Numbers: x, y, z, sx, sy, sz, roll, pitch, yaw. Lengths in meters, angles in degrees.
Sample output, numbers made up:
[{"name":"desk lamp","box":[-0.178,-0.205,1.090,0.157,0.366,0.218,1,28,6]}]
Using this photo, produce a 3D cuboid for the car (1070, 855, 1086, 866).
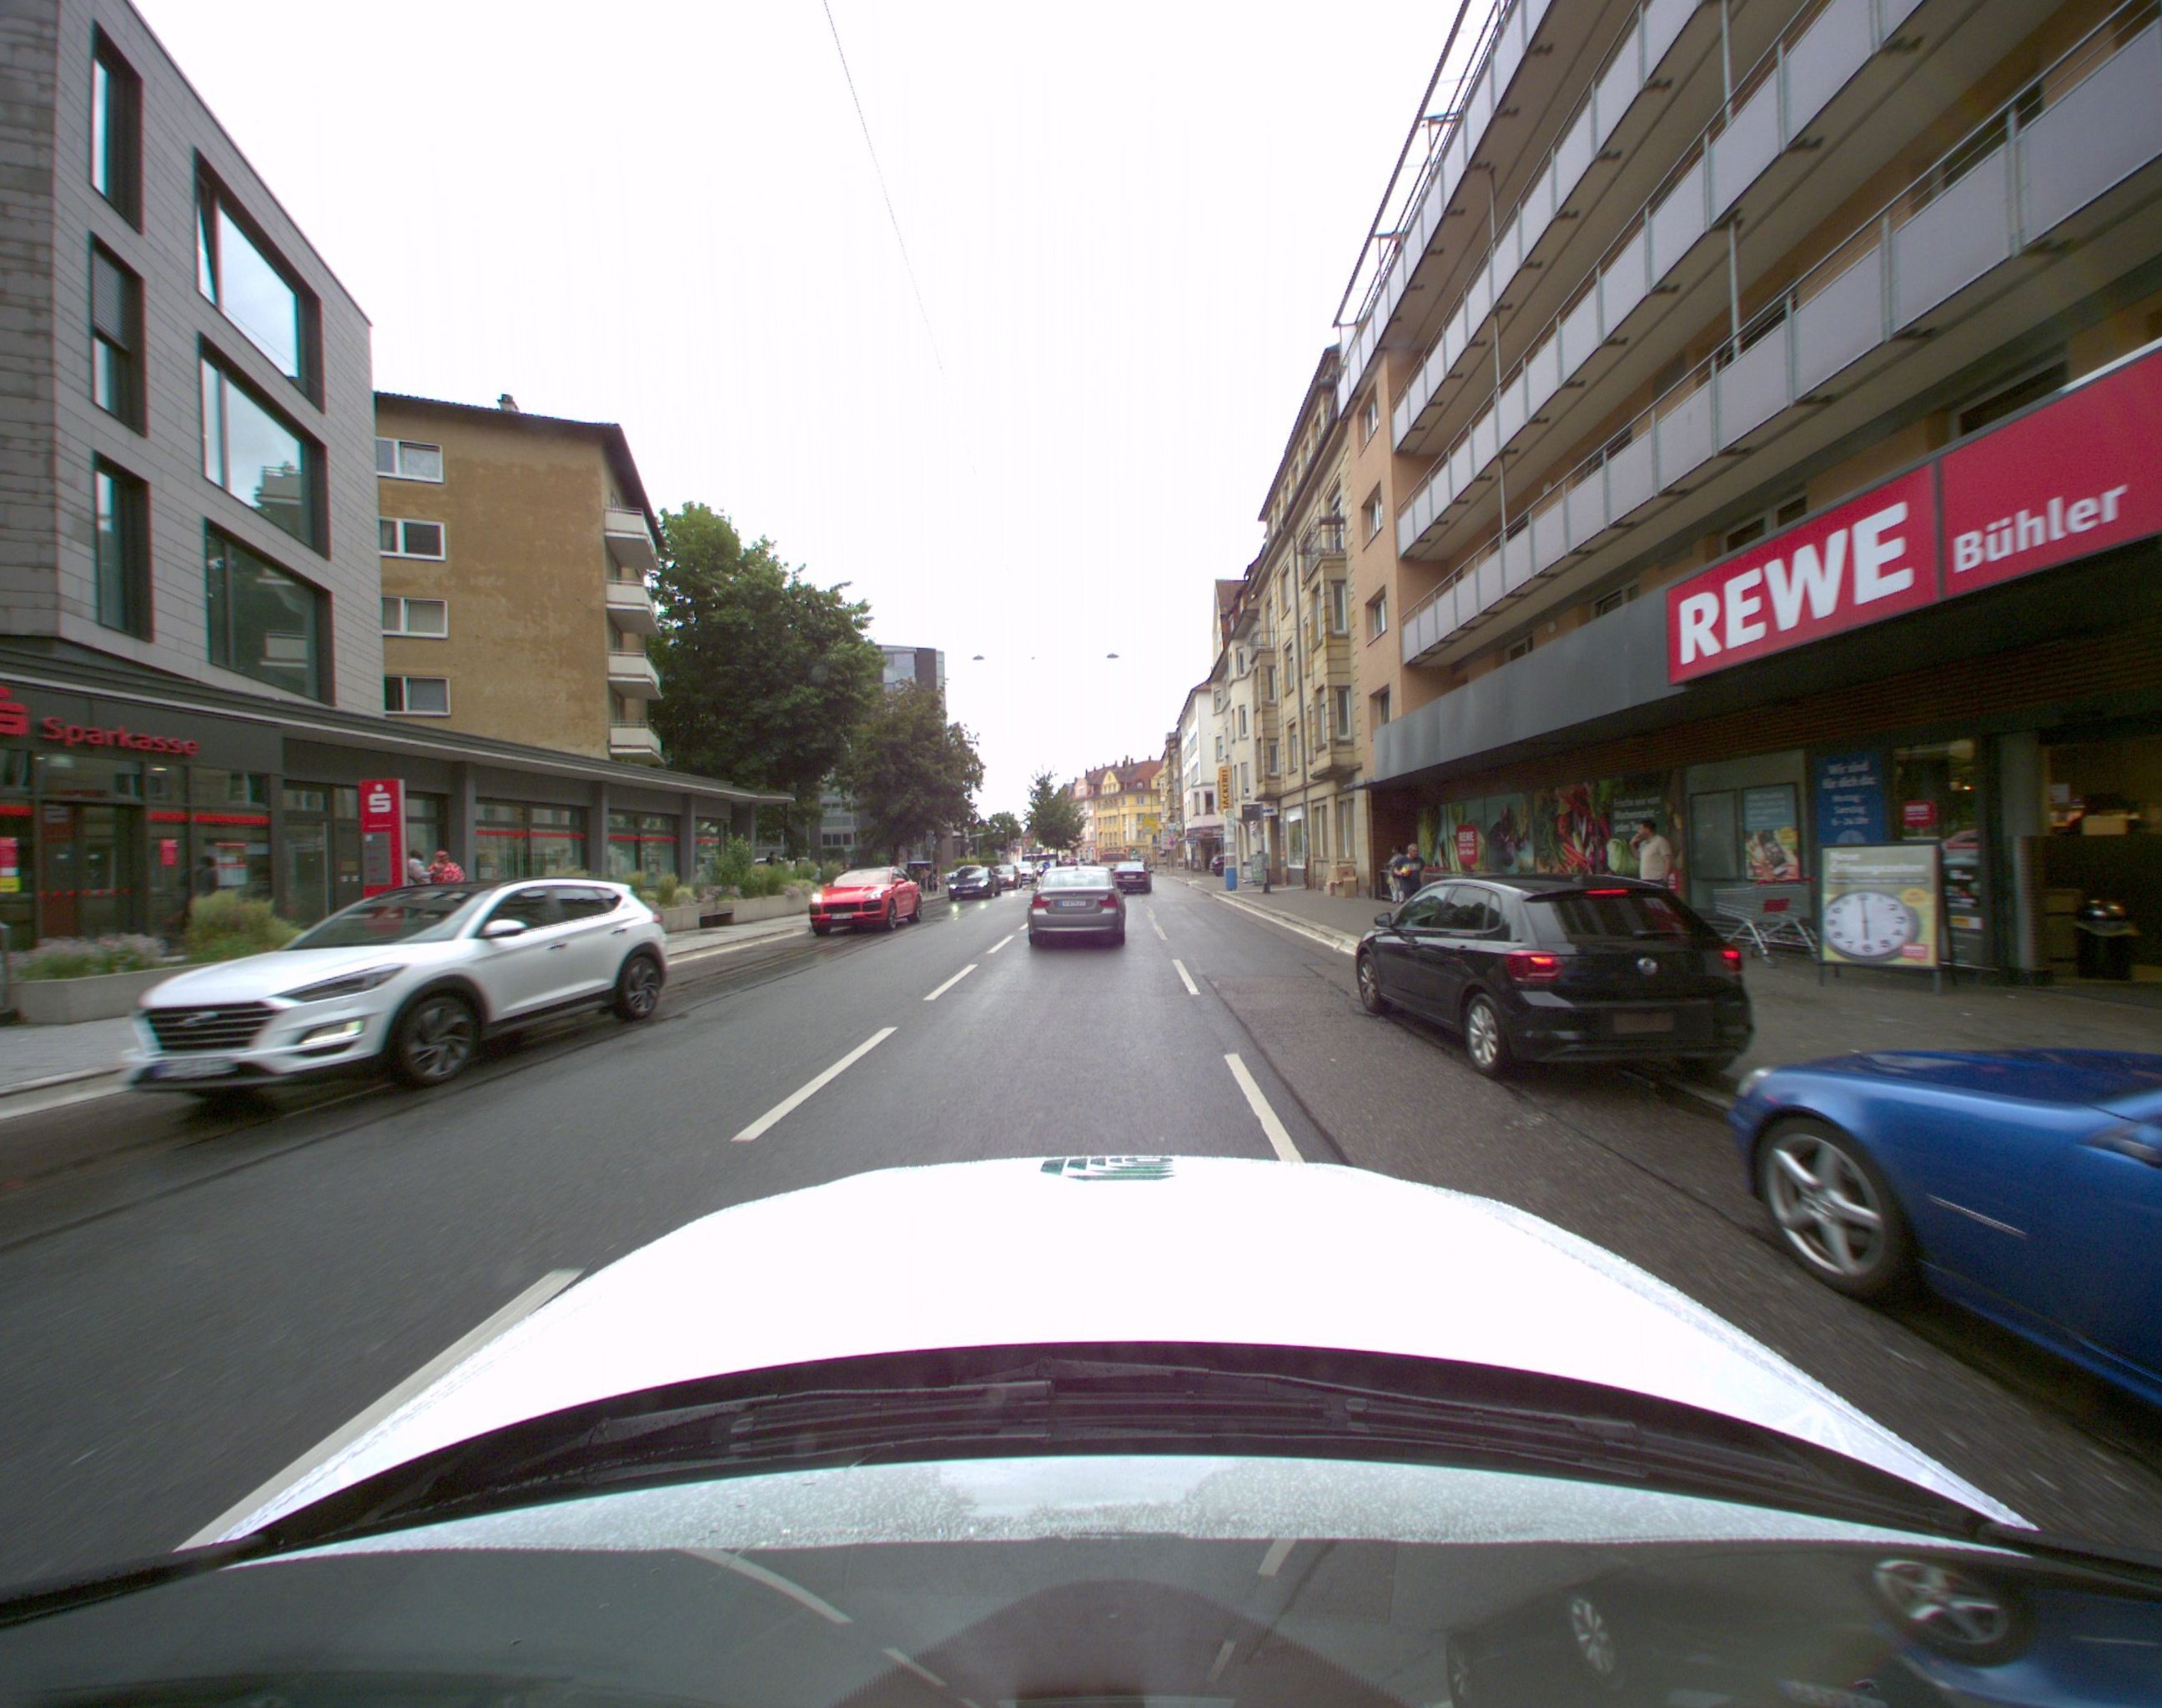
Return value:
[{"name":"car","box":[-0.604,1.283,167.696,1.769,2.180,3.969,1,-1,-23]}]

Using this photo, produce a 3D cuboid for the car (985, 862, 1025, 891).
[{"name":"car","box":[-4.543,1.341,49.188,1.948,1.557,4.243,-3,0,0]}]

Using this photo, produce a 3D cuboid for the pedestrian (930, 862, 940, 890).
[{"name":"pedestrian","box":[-8.881,1.349,49.481,0.496,1.673,0.552,-1,-1,-1]}]

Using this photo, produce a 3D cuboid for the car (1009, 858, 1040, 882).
[{"name":"car","box":[-4.055,1.134,58.880,1.813,1.569,4.090,-3,0,1]}]

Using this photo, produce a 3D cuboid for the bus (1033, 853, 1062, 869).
[{"name":"bus","box":[-6.998,1.448,167.346,2.920,3.105,9.075,-2,0,-22]}]

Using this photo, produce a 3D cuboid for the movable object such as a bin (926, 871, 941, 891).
[{"name":"movable object such as a bin","box":[-8.819,1.606,48.785,0.701,1.134,0.965,-1,-1,-1]}]

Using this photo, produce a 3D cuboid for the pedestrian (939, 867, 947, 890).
[{"name":"pedestrian","box":[-8.388,1.484,49.517,0.432,1.410,0.481,-1,-1,-1]}]

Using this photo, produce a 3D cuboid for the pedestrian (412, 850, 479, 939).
[{"name":"pedestrian","box":[-12.385,0.773,15.884,0.704,1.678,0.805,-2,-1,30]}]

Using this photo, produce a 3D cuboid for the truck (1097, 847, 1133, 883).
[{"name":"truck","box":[2.218,0.698,53.843,2.216,2.249,5.065,-1,0,2]}]

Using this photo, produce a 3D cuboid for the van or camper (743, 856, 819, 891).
[{"name":"van or camper","box":[-20.473,1.290,55.632,4.628,2.266,2.192,0,0,-27]}]

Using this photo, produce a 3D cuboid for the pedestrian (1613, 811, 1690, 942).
[{"name":"pedestrian","box":[8.368,0.325,11.981,0.593,1.859,0.728,-1,-1,5]}]

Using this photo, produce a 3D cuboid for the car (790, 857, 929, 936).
[{"name":"car","box":[-5.746,1.064,21.916,2.098,1.764,5.062,-3,-1,2]}]

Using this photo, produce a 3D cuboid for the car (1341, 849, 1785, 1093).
[{"name":"car","box":[3.709,0.739,7.196,1.723,1.547,3.984,0,0,3]}]

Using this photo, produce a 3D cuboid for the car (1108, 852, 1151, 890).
[{"name":"car","box":[2.128,0.758,36.731,1.793,1.563,4.001,-1,-1,1]}]

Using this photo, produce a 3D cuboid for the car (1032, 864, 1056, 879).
[{"name":"car","box":[-3.685,1.750,81.802,2.006,1.426,4.502,-1,0,2]}]

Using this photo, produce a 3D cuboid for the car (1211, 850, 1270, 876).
[{"name":"car","box":[11.704,0.680,59.926,4.113,1.772,1.878,-1,0,9]}]

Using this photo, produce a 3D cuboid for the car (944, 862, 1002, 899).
[{"name":"car","box":[-5.074,1.213,38.940,1.948,1.512,4.914,-3,0,1]}]

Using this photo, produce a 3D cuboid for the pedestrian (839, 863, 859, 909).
[{"name":"pedestrian","box":[-9.432,1.279,33.114,0.723,1.826,0.718,-1,0,-17]}]

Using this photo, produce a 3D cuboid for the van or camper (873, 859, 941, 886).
[{"name":"van or camper","box":[-13.938,1.483,65.197,4.979,2.014,1.982,-1,-1,-27]}]

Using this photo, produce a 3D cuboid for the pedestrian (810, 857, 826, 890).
[{"name":"pedestrian","box":[-14.553,1.066,45.117,0.725,1.826,0.716,-1,0,-26]}]

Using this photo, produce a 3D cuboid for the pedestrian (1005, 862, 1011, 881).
[{"name":"pedestrian","box":[-7.024,1.698,78.375,0.573,1.762,0.580,-2,-1,-4]}]

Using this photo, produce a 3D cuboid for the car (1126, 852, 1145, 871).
[{"name":"car","box":[6.276,0.840,93.569,1.986,2.014,4.001,-2,-1,1]}]

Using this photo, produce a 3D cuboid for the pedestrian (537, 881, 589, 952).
[{"name":"pedestrian","box":[-10.794,1.284,16.973,0.584,1.420,0.730,-2,-1,37]}]

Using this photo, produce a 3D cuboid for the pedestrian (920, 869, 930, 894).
[{"name":"pedestrian","box":[-9.492,1.675,49.490,0.458,1.473,0.530,-1,-1,-1]}]

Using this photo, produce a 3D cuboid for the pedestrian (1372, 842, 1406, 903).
[{"name":"pedestrian","box":[8.095,0.476,21.414,0.562,1.573,0.624,-1,-1,-14]}]

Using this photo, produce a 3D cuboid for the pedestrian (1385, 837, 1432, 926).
[{"name":"pedestrian","box":[6.328,0.523,15.740,0.622,1.651,0.750,-2,2,4]}]

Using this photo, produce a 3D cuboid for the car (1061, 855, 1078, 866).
[{"name":"car","box":[-2.152,1.180,153.926,2.000,2.014,3.974,-2,0,-19]}]

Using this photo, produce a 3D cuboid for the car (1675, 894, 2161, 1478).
[{"name":"car","box":[3.454,0.837,1.791,1.727,1.310,3.771,-1,-1,4]}]

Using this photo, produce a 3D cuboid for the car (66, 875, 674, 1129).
[{"name":"car","box":[-5.878,1.056,7.598,1.888,1.573,4.126,-4,-1,2]}]

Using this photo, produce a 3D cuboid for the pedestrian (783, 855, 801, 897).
[{"name":"pedestrian","box":[-12.377,0.953,34.900,0.657,1.759,0.716,-2,-1,-21]}]

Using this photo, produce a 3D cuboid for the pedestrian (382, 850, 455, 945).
[{"name":"pedestrian","box":[-12.055,0.778,14.835,0.711,1.678,0.714,-2,-1,1]}]

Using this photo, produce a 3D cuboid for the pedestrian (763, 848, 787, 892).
[{"name":"pedestrian","box":[-13.206,0.668,35.164,0.860,1.845,0.691,-2,-1,-12]}]

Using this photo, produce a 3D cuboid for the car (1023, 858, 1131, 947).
[{"name":"car","box":[-0.020,0.858,15.921,1.793,1.464,4.371,-1,-1,1]}]

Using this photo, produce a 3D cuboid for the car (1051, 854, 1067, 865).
[{"name":"car","box":[-4.332,1.106,159.721,2.000,2.014,3.974,-2,0,-19]}]

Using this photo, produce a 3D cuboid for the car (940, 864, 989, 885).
[{"name":"car","box":[-9.655,1.684,67.613,3.601,1.569,1.724,-1,0,-31]}]
